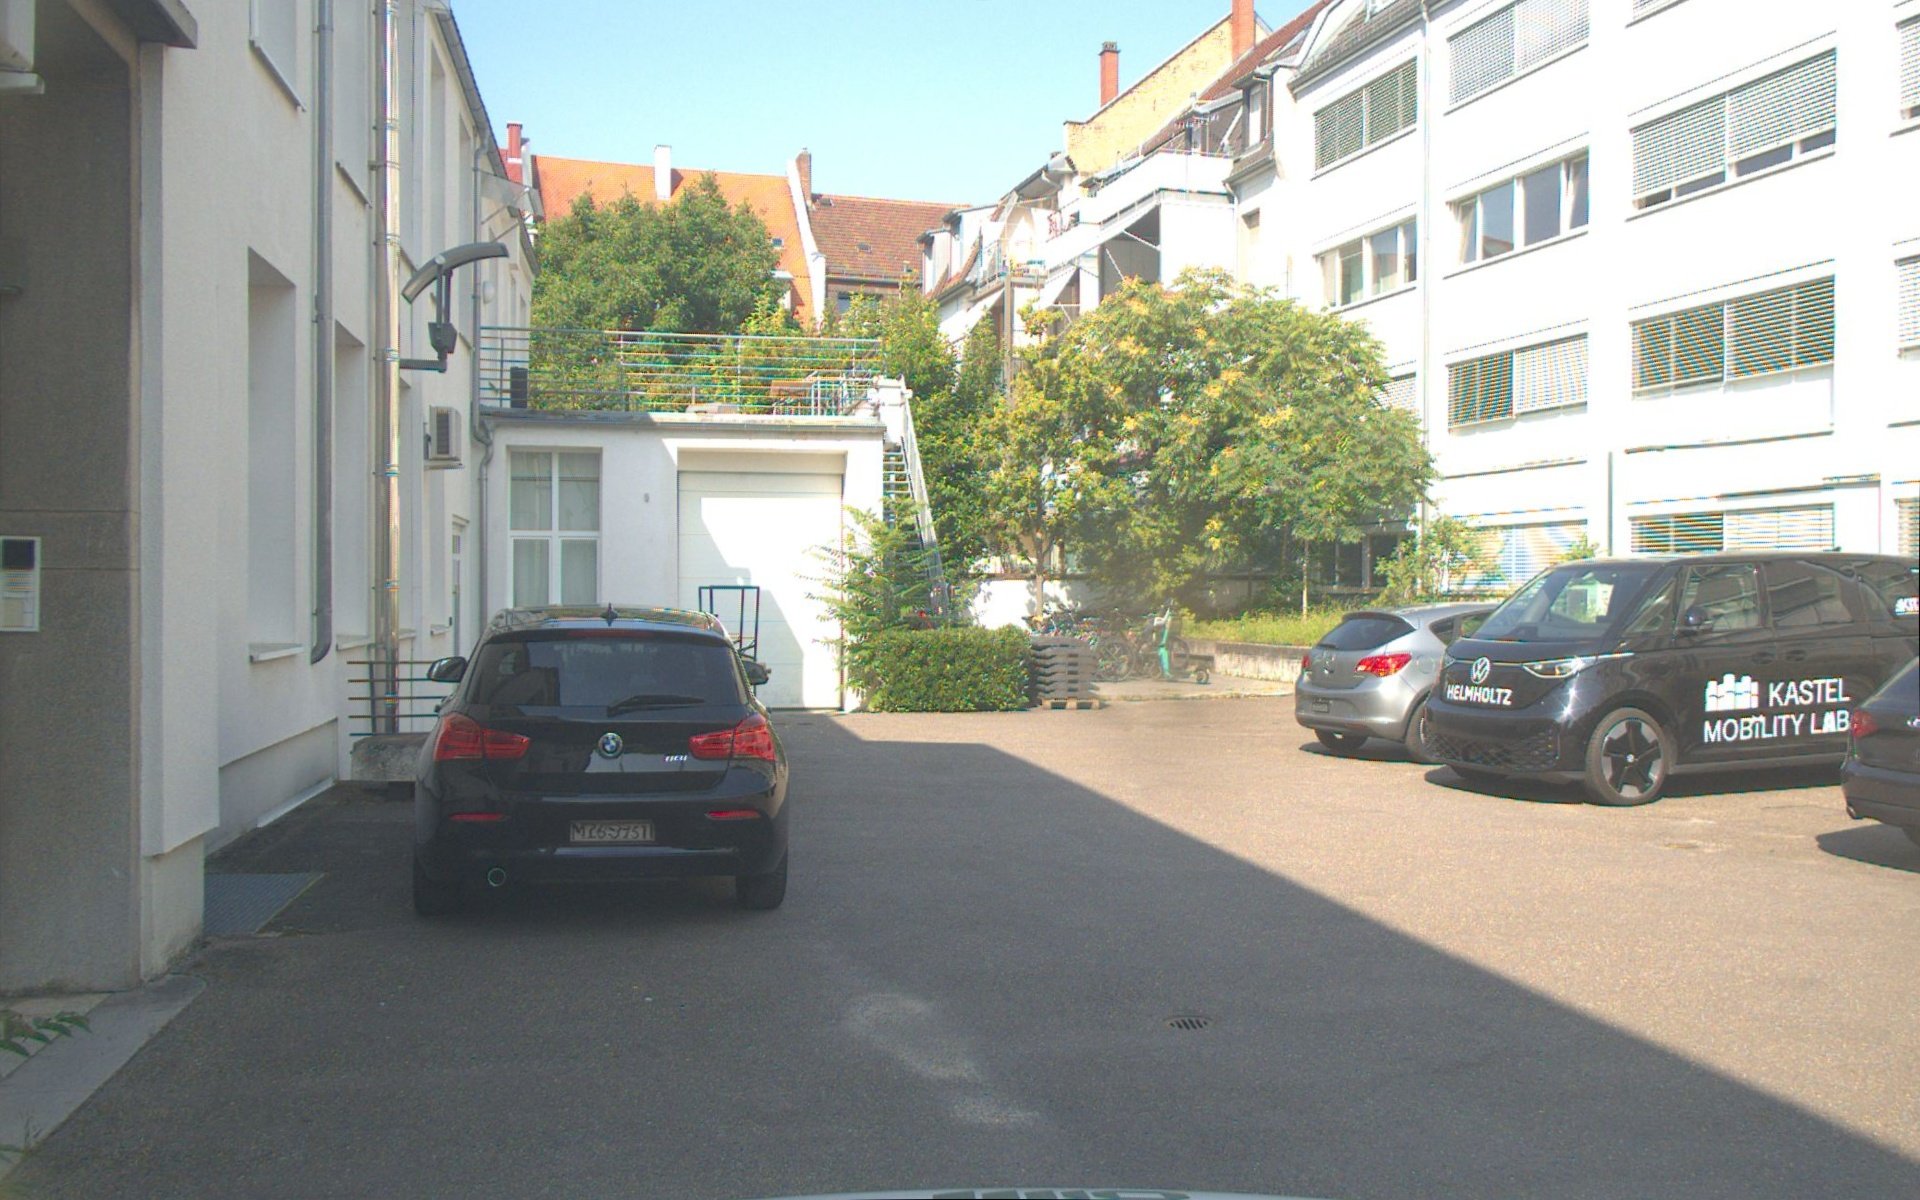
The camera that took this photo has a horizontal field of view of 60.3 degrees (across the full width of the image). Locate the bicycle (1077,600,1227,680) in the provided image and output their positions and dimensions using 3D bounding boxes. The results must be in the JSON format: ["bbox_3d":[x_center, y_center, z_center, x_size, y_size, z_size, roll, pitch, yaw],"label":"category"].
[{"bbox_3d":[3.126,0.656,26.977,2.368,1.268,0.525,1,0,-11],"label":"bicycle"}]

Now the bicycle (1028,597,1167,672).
[{"bbox_3d":[2.409,0.606,29.002,2.368,1.268,0.525,1,0,-12],"label":"bicycle"}]

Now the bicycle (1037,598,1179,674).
[{"bbox_3d":[2.530,0.616,28.356,2.368,1.268,0.525,1,0,-11],"label":"bicycle"}]

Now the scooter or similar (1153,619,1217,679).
[{"bbox_3d":[3.640,0.788,26.770,0.981,0.940,0.358,1,0,42],"label":"scooter or similar"}]

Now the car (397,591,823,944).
[{"bbox_3d":[-1.943,0.697,9.092,1.762,1.453,4.122,1,0,-13],"label":"car"}]

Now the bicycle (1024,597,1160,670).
[{"bbox_3d":[2.369,0.598,29.666,2.368,1.268,0.525,1,0,-11],"label":"bicycle"}]

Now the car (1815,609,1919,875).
[{"bbox_3d":[7.375,0.790,9.660,4.159,1.462,1.685,0,1,-13],"label":"car"}]

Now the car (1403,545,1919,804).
[{"bbox_3d":[6.030,0.516,13.758,4.272,1.891,1.903,0,1,-21],"label":"car"}]

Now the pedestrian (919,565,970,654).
[{"bbox_3d":[-0.316,0.186,34.117,0.843,1.802,0.609,1,0,34],"label":"pedestrian"}]

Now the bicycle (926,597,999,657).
[{"bbox_3d":[0.065,0.537,34.187,0.480,1.163,1.988,0,1,34],"label":"bicycle"}]

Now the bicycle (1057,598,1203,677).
[{"bbox_3d":[2.836,0.621,27.595,2.368,1.268,0.525,1,0,-11],"label":"bicycle"}]

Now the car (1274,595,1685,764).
[{"bbox_3d":[5.209,0.715,16.561,3.846,1.491,1.650,0,1,-25],"label":"car"}]
